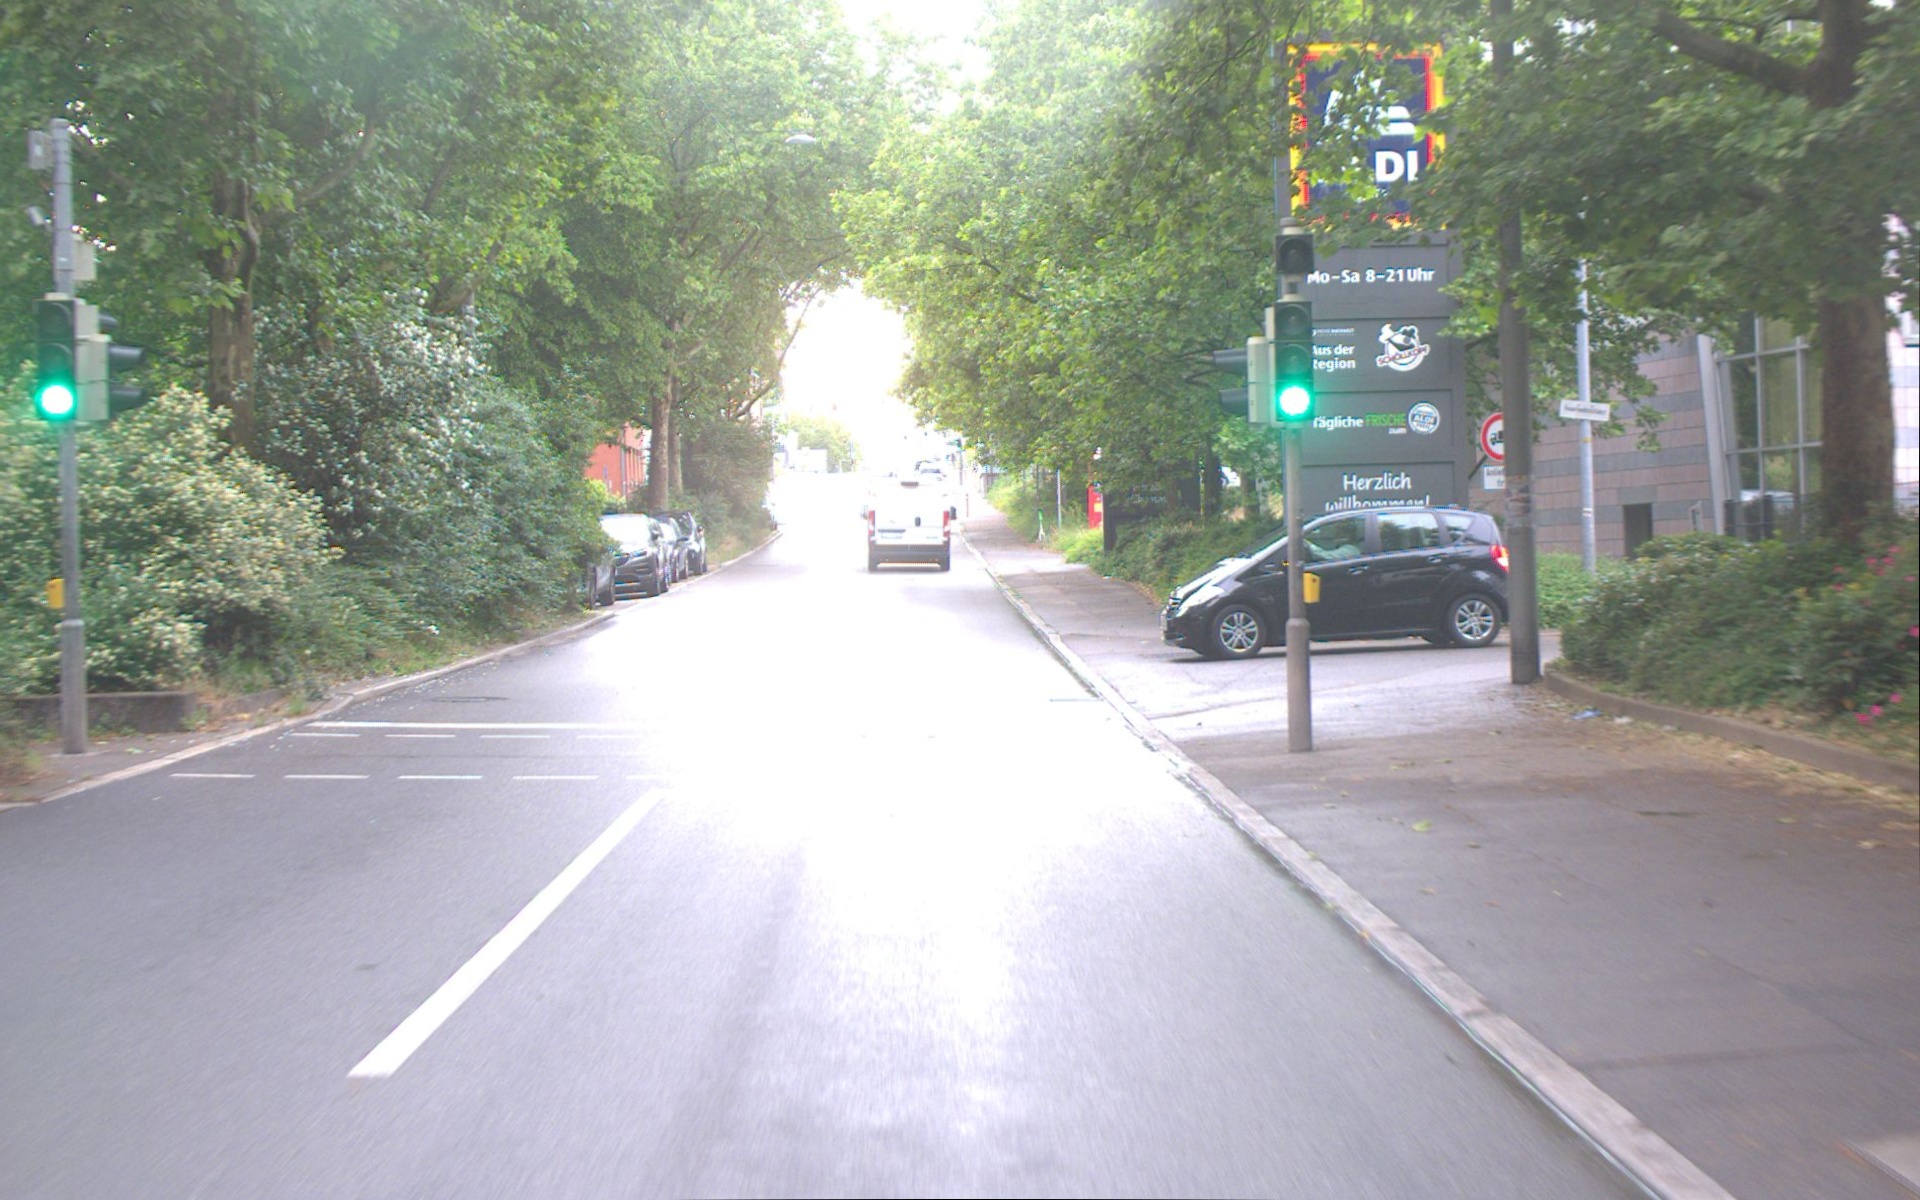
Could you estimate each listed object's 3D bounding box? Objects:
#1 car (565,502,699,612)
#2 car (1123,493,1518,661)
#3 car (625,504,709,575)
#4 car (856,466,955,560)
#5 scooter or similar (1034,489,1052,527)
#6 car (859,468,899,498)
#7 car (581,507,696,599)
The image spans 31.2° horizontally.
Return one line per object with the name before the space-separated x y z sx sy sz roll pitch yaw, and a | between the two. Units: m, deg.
car | -5.676 -0.787 59.925 1.734 1.651 4.564 -5 2 1
car | 3.885 -0.275 37.440 3.848 1.542 2.027 -4 2 -6
car | -6.962 -1.465 82.007 1.647 1.532 4.019 -5 2 -1
car | -1.332 -2.152 85.575 2.336 2.223 4.000 -2 1 0
scooter or similar | 2.575 -2.852 106.424 0.425 1.138 1.529 1 0 -3
car | -5.147 -7.440 218.930 2.159 1.703 3.873 1 0 3
car | -6.068 -0.920 65.326 1.864 1.585 4.240 -3 2 -2
